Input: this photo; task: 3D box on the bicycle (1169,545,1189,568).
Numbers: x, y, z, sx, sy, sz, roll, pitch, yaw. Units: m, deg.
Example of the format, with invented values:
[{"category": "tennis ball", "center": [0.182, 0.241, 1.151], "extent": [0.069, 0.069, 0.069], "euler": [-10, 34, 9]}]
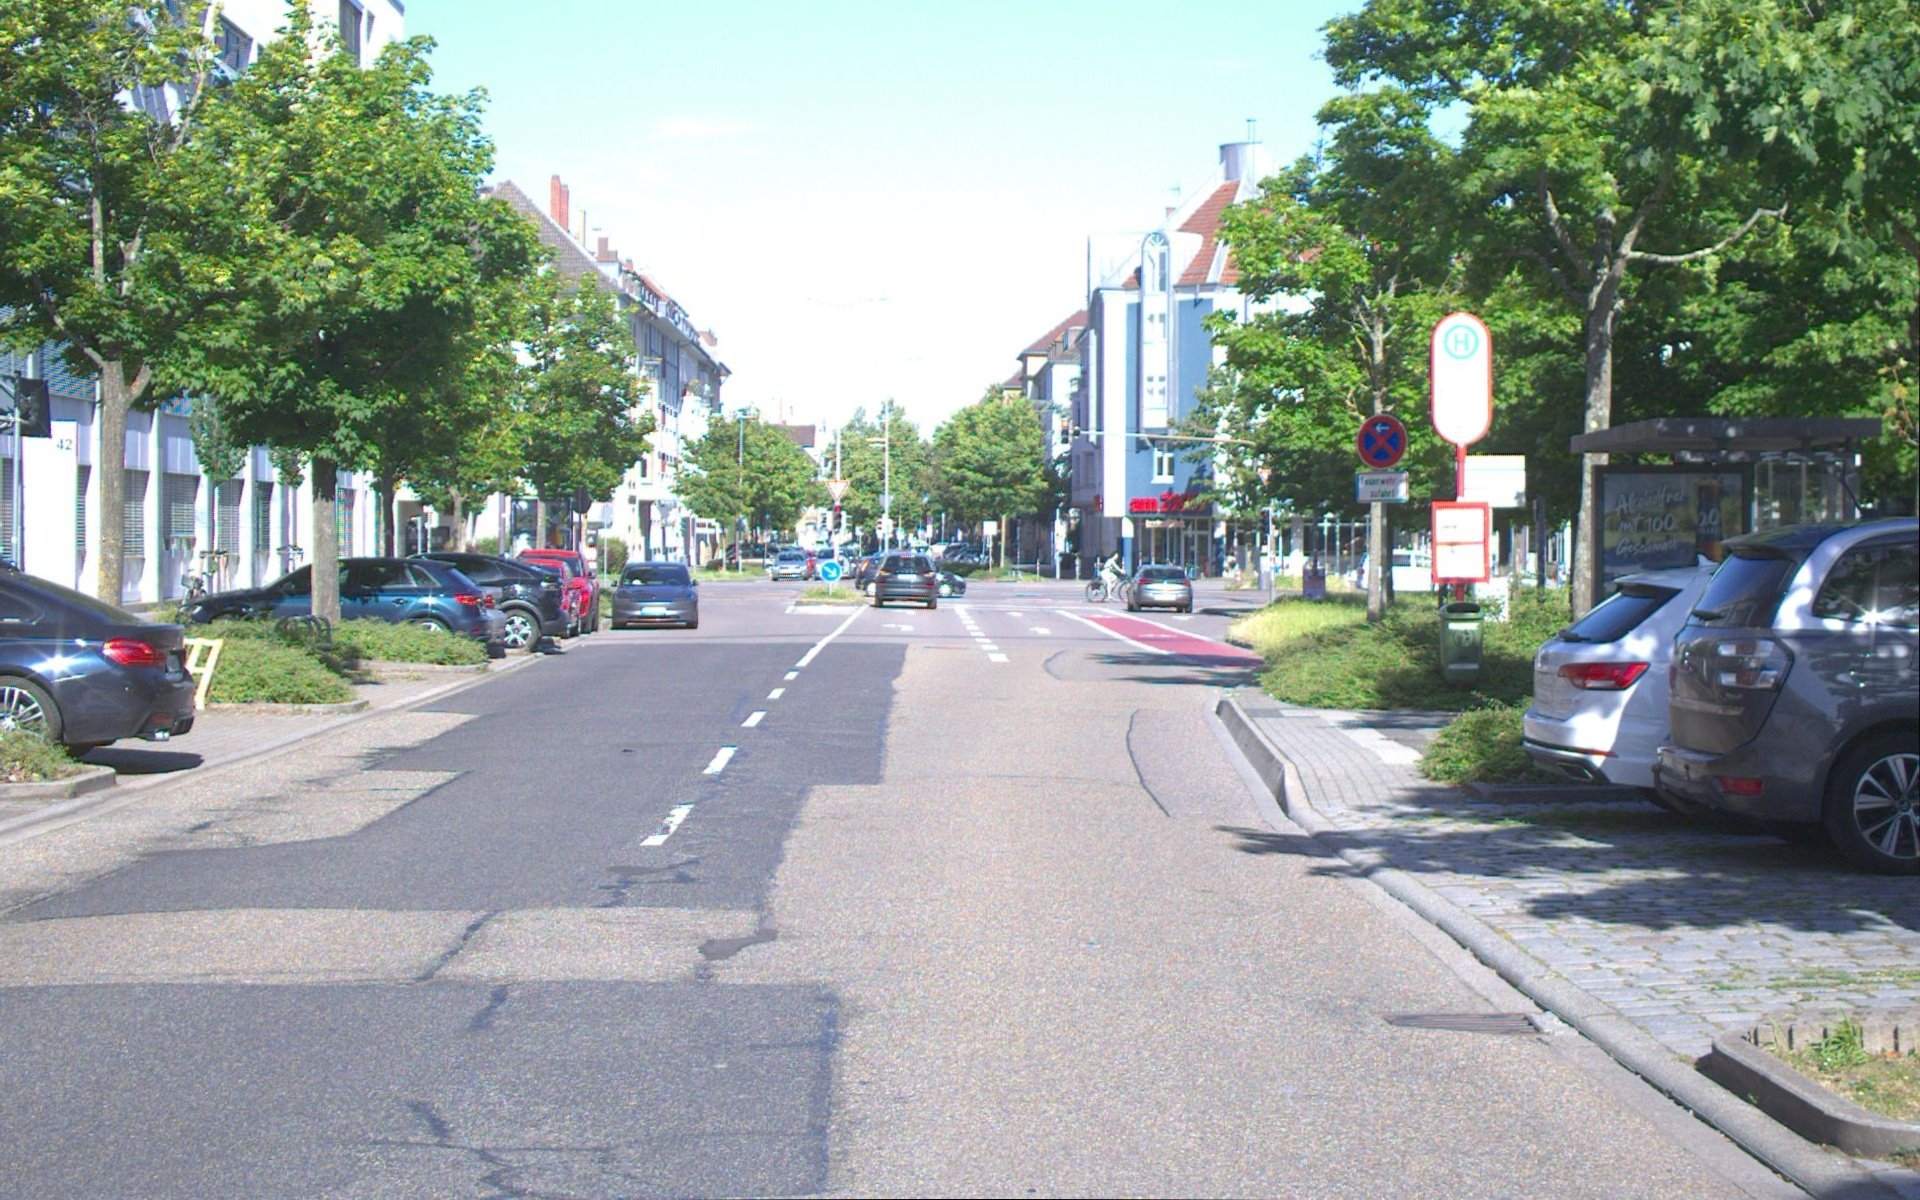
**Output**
[{"category": "bicycle", "center": [9.776, -1.931, 153.458], "extent": [0.471, 1.024, 1.517], "euler": [0, 1, -13]}]

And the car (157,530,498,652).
[{"category": "car", "center": [-8.607, -0.134, 47.028], "extent": [4.384, 1.427, 1.694], "euler": [3, 1, -5]}]

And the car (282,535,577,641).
[{"category": "car", "center": [-8.274, -0.201, 53.887], "extent": [4.385, 1.427, 1.694], "euler": [3, 1, -4]}]

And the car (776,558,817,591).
[{"category": "car", "center": [-8.106, -1.280, 170.470], "extent": [1.754, 1.550, 3.731], "euler": [3, 1, 0]}]

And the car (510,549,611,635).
[{"category": "car", "center": [-8.054, -0.185, 69.592], "extent": [1.688, 1.601, 4.311], "euler": [3, 1, -3]}]

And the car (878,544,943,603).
[{"category": "car", "center": [-1.479, -0.814, 101.520], "extent": [1.753, 1.622, 4.479], "euler": [3, 1, -2]}]

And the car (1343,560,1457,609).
[{"category": "car", "center": [15.735, -0.568, 123.017], "extent": [3.859, 1.572, 1.693], "euler": [3, 1, 4]}]

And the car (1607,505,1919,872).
[{"category": "car", "center": [5.506, 0.366, 16.463], "extent": [4.402, 1.635, 2.074], "euler": [-1, 1, -1]}]

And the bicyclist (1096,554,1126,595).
[{"category": "bicyclist", "center": [5.046, -0.859, 115.019], "extent": [0.703, 1.343, 0.791], "euler": [1, 1, 34]}]

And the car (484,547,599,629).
[{"category": "car", "center": [-7.890, -0.243, 65.084], "extent": [1.688, 1.427, 3.872], "euler": [3, 1, -1]}]

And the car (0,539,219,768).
[{"category": "car", "center": [-7.427, 0.269, 23.388], "extent": [4.384, 1.427, 1.978], "euler": [3, 1, -4]}]

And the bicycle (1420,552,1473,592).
[{"category": "bicycle", "center": [16.507, -0.951, 116.521], "extent": [0.792, 1.343, 2.258], "euler": [1, 1, 37]}]

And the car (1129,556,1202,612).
[{"category": "car", "center": [6.273, -0.511, 105.471], "extent": [1.688, 1.572, 3.872], "euler": [3, 1, -4]}]

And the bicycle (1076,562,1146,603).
[{"category": "bicycle", "center": [5.050, -0.599, 115.009], "extent": [2.259, 1.343, 0.791], "euler": [1, 1, 34]}]

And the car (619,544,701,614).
[{"category": "car", "center": [-6.541, -0.485, 75.289], "extent": [1.688, 1.463, 4.548], "euler": [0, 1, -4]}]

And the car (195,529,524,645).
[{"category": "car", "center": [-8.643, -0.198, 49.715], "extent": [4.385, 1.427, 1.693], "euler": [3, 1, 1]}]

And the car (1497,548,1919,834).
[{"category": "car", "center": [5.290, 0.447, 18.748], "extent": [4.402, 1.458, 1.895], "euler": [-1, 1, -1]}]

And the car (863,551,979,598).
[{"category": "car", "center": [-1.373, -0.882, 119.940], "extent": [3.950, 1.594, 1.676], "euler": [-1, 1, -3]}]

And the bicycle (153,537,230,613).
[{"category": "bicycle", "center": [-13.840, -0.459, 61.982], "extent": [0.709, 1.342, 2.232], "euler": [-1, 1, 5]}]
